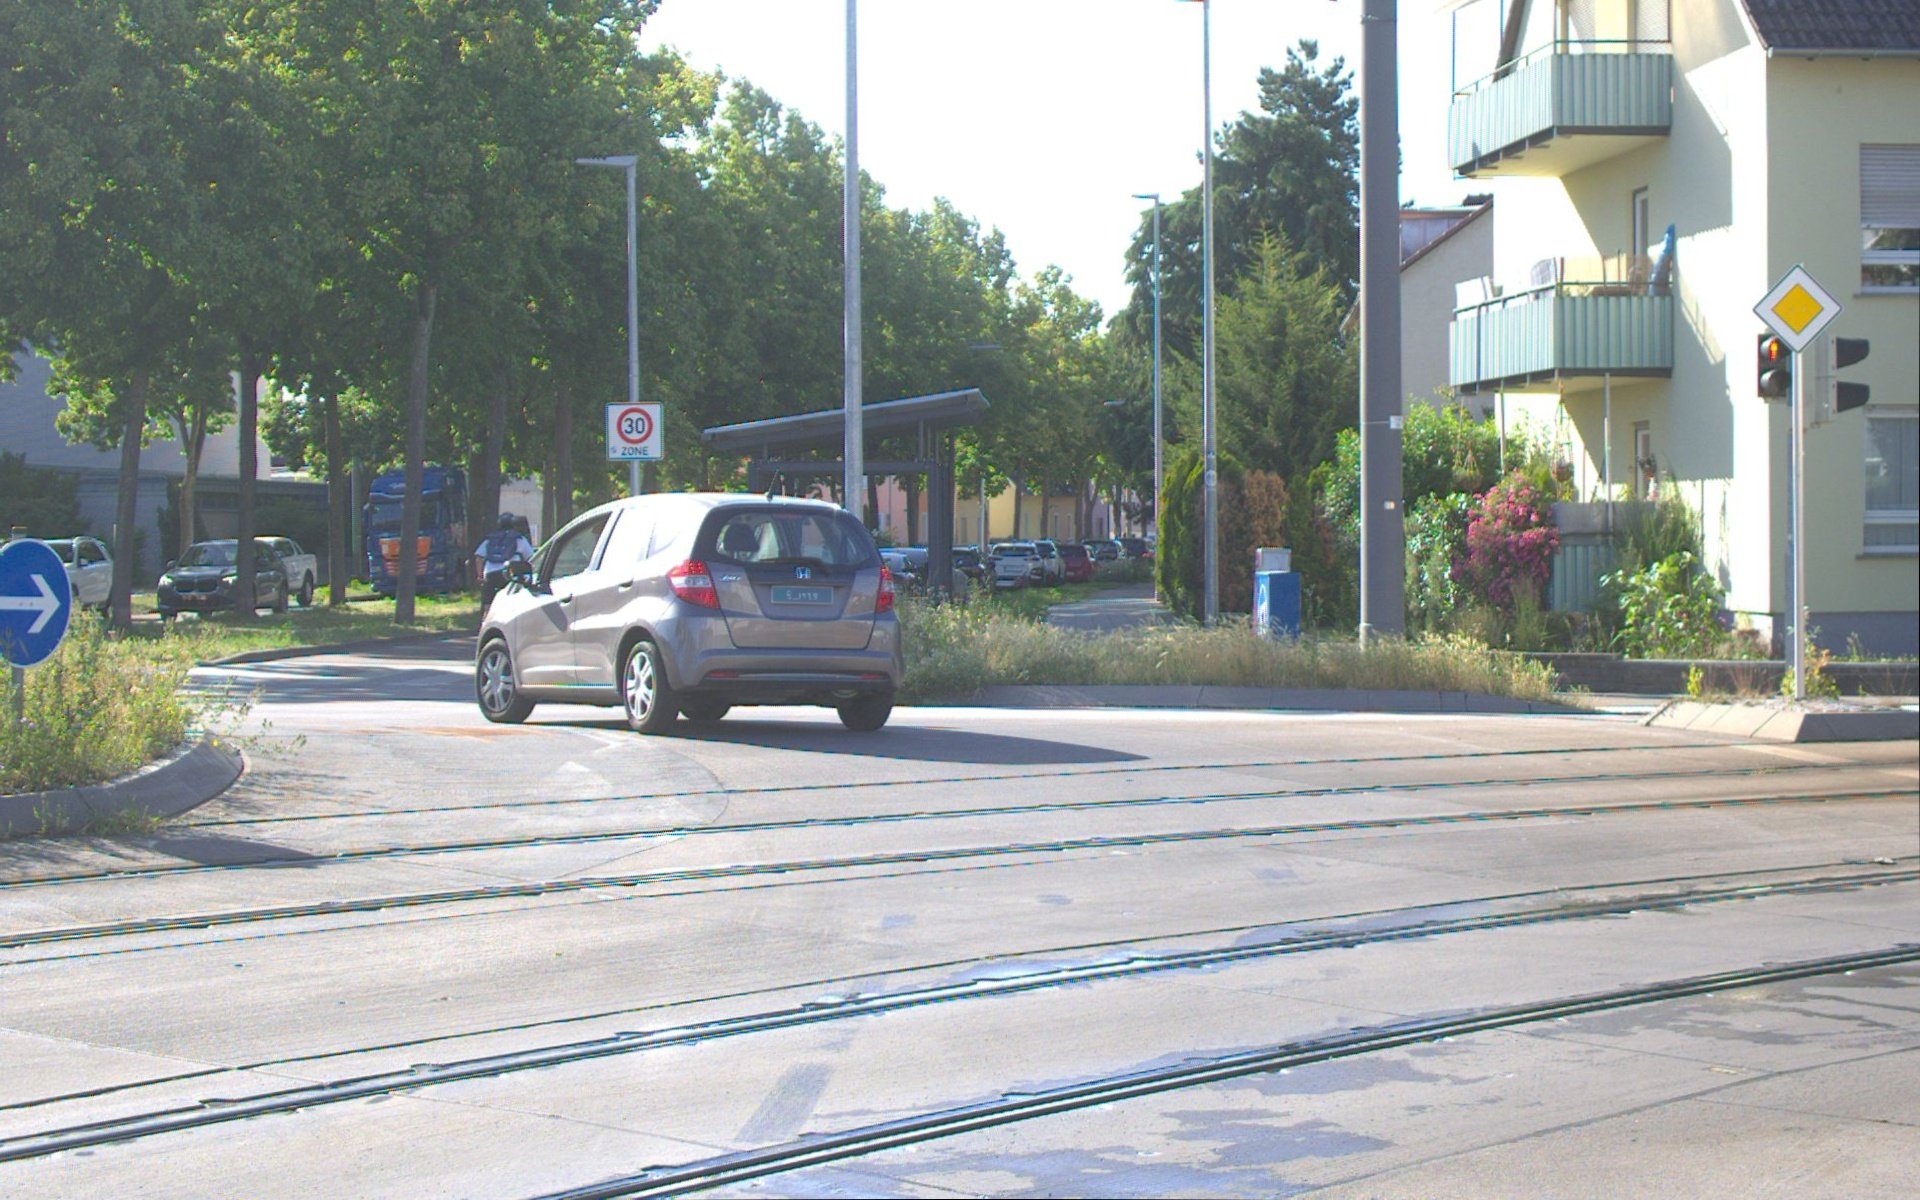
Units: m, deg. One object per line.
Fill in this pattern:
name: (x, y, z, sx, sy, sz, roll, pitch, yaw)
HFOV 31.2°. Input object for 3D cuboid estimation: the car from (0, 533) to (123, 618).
car: (-19.228, -0.536, 72.558, 1.993, 1.694, 4.218, 1, 1, 1)

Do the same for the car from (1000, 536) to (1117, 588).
car: (2.982, -1.151, 104.423, 3.479, 1.488, 1.552, 1, 1, 1)

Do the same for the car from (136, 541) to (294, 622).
car: (-15.179, -0.400, 70.295, 1.831, 1.575, 4.440, 1, 1, 6)

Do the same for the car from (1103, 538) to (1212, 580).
car: (6.536, -1.356, 113.965, 3.517, 1.291, 1.577, 1, 1, 1)

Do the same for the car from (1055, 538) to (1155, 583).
car: (5.206, -1.411, 123.756, 3.517, 1.528, 1.577, 1, 1, 1)

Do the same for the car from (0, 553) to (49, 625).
car: (-19.383, -0.249, 67.753, 1.961, 1.319, 4.001, 1, 1, -3)

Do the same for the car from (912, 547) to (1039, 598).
car: (0.433, -0.775, 96.067, 3.442, 1.389, 1.237, 0, 1, 5)

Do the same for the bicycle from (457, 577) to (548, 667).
bicycle: (-5.387, 0.269, 40.446, 0.766, 1.033, 1.534, 1, -1, -19)

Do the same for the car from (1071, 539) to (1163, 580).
car: (6.139, -1.576, 134.369, 3.517, 1.528, 1.577, 1, 1, 1)

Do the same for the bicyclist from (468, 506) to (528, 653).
bicyclist: (-5.482, -0.241, 40.790, 0.602, 1.708, 0.544, 0, -3, -19)

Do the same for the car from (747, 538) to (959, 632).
car: (-1.819, -0.272, 59.256, 3.517, 1.528, 1.577, 1, 1, 2)

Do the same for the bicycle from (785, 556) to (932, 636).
bicycle: (-1.385, -0.057, 46.809, 1.973, 1.024, 0.689, 1, 1, -2)

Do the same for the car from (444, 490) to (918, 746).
car: (-1.927, 0.041, 22.623, 1.687, 1.485, 3.915, -1, 3, -28)

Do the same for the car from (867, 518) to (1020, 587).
car: (-0.373, -1.125, 81.355, 3.517, 1.528, 1.577, 1, 1, 2)

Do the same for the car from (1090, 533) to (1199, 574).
car: (6.085, -1.548, 113.780, 3.517, 1.275, 1.577, 1, 1, 1)

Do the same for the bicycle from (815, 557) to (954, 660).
bicycle: (-0.933, 0.098, 42.168, 1.665, 1.203, 0.689, 1, 1, -2)

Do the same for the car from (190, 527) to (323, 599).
car: (-18.171, -0.968, 89.082, 1.994, 1.766, 5.059, 1, 1, 5)

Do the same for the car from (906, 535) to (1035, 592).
car: (0.307, -0.996, 94.124, 3.412, 1.528, 1.525, 0, 1, 5)

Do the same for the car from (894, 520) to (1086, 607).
car: (0.577, -0.686, 64.178, 3.517, 1.528, 1.577, 1, 1, 2)

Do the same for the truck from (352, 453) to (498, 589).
truck: (-16.524, -2.461, 106.699, 3.069, 3.979, 8.009, 1, 1, 1)

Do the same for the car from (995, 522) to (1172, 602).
car: (2.501, -0.776, 69.625, 3.517, 1.528, 1.577, 1, 1, 2)

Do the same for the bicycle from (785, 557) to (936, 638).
bicycle: (-1.334, -0.038, 45.860, 1.973, 1.024, 0.696, 1, 1, -2)

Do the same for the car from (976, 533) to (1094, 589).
car: (2.157, -1.132, 99.664, 3.359, 1.528, 1.523, 1, 1, 1)
